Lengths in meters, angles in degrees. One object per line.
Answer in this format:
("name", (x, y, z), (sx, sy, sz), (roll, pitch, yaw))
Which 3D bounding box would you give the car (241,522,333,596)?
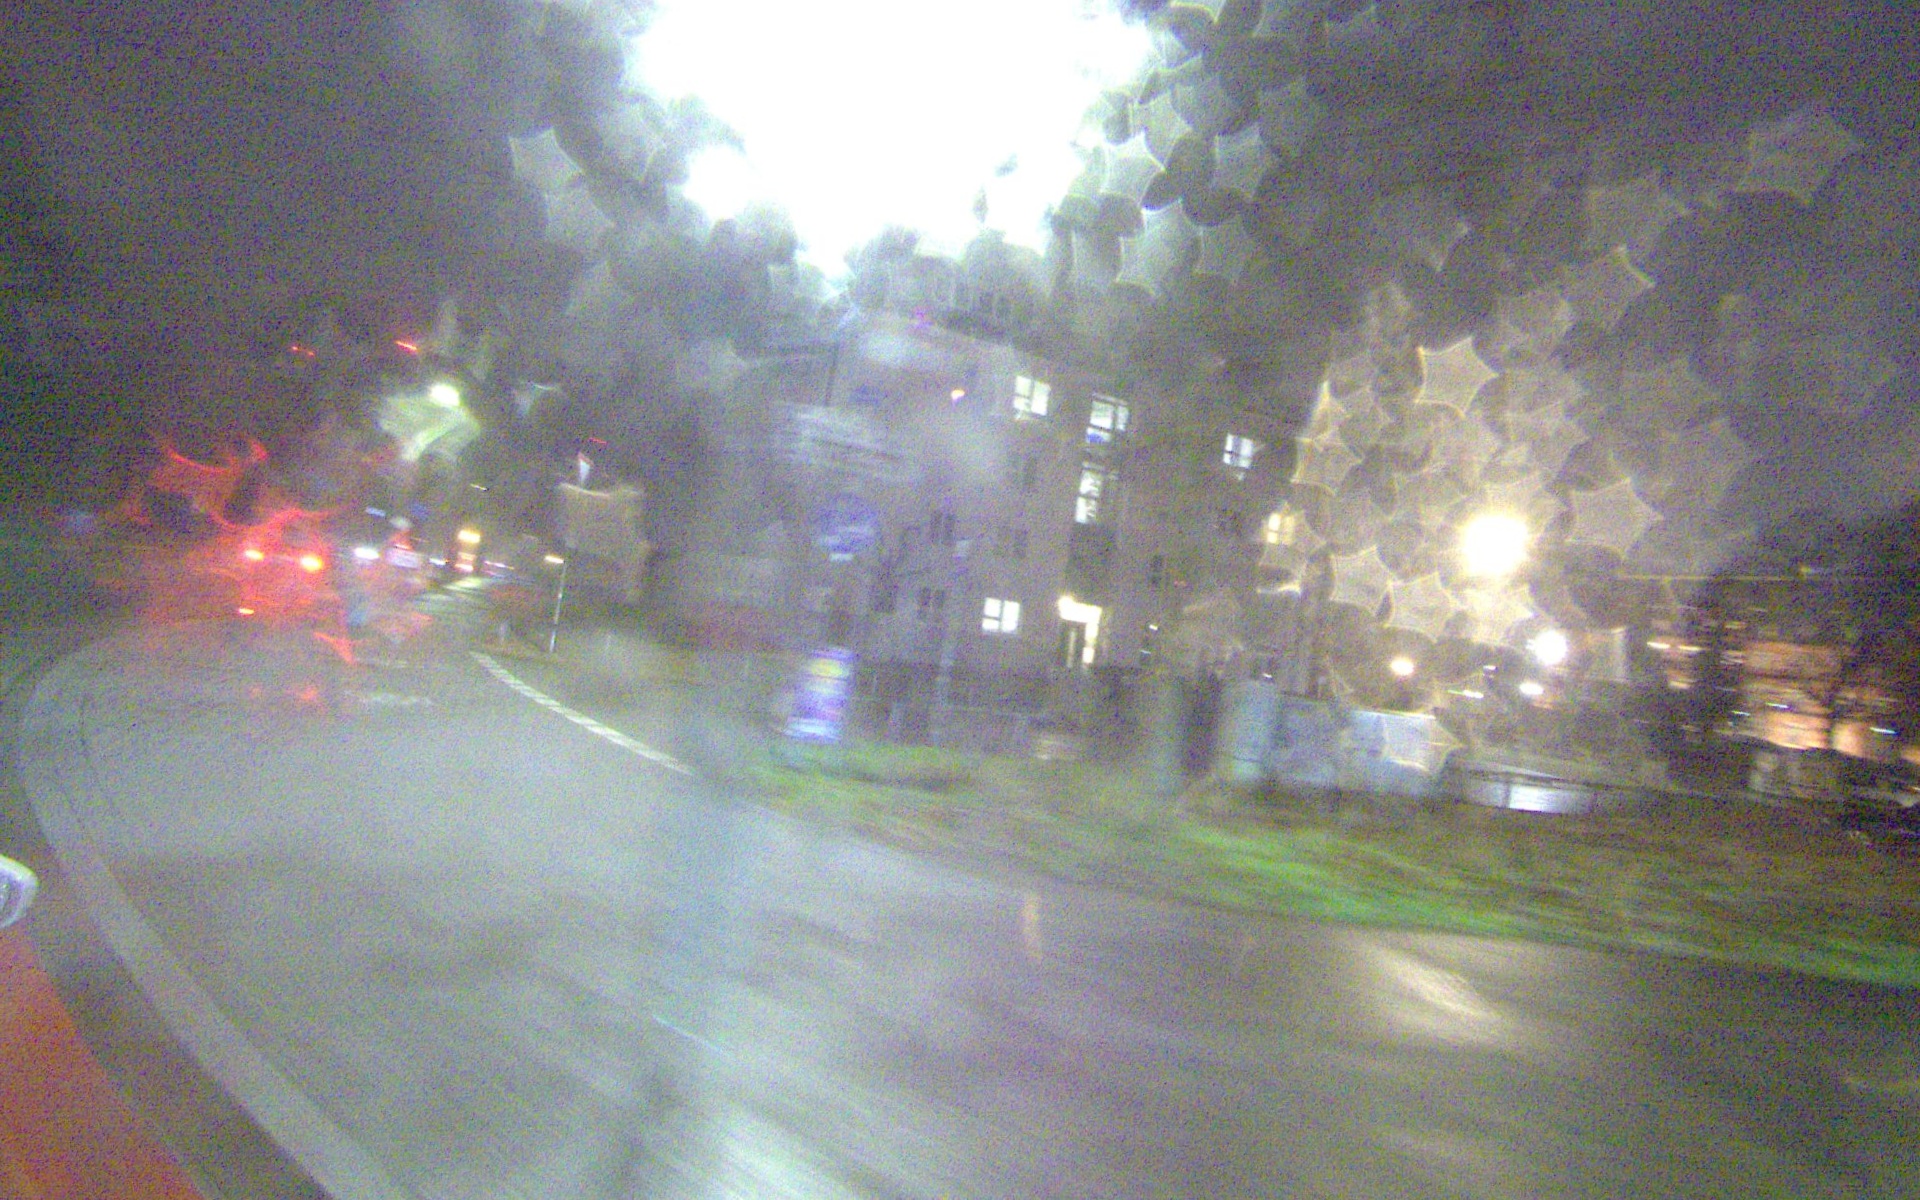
("car", (-22.817, -1.388, 34.274), (1.980, 2.035, 4.525), (10, -3, -29))

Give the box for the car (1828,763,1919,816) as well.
("car", (37.937, 7.779, 40.644), (1.702, 1.553, 3.889), (10, -3, -25))

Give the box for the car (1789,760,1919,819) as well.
("car", (35.627, 7.490, 39.803), (1.702, 1.553, 3.889), (10, -3, -25))

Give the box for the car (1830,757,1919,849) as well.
("car", (19.280, 4.120, 18.981), (1.702, 1.513, 3.889), (10, -3, -25))

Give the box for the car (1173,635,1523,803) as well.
("car", (5.169, 1.571, 13.573), (3.939, 1.703, 1.913), (7, -2, -16))
